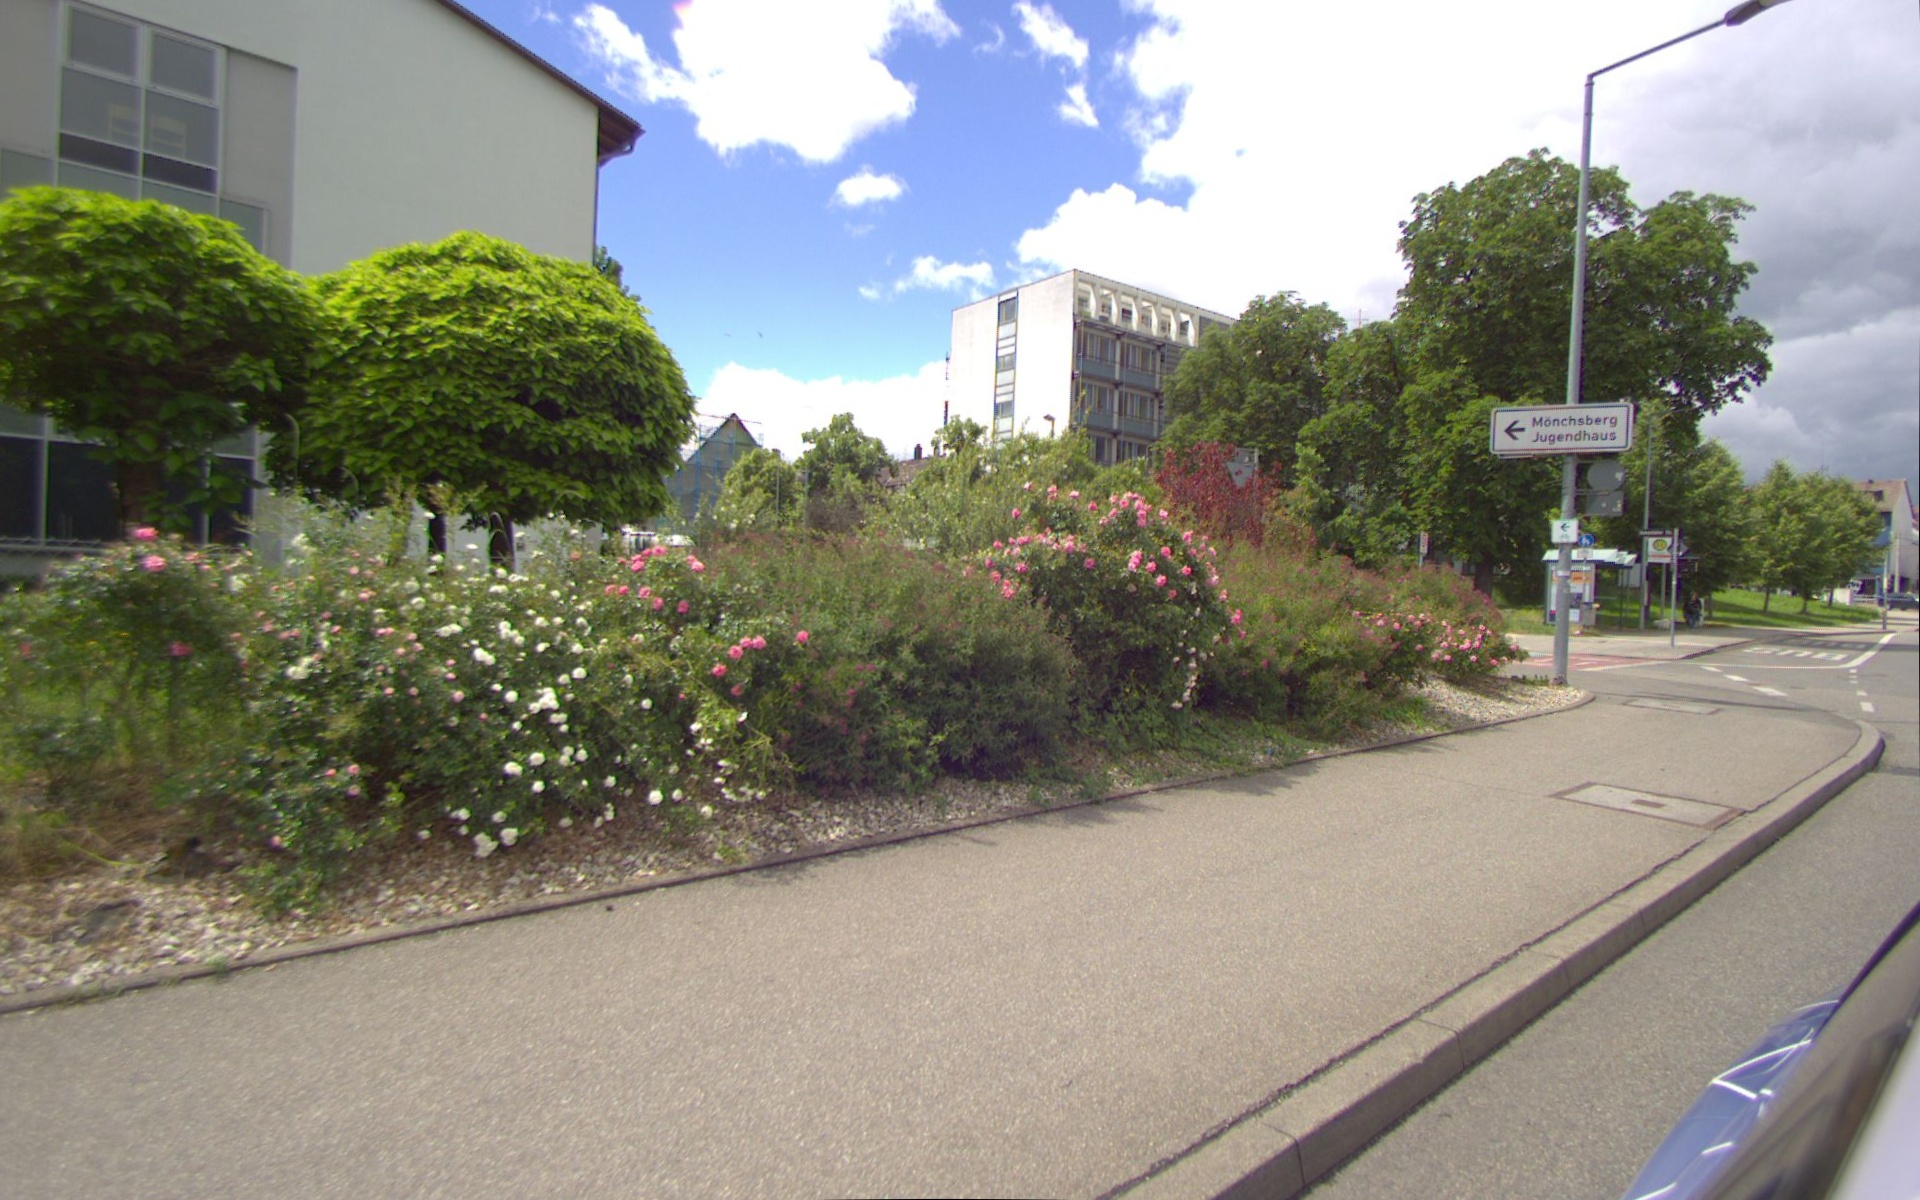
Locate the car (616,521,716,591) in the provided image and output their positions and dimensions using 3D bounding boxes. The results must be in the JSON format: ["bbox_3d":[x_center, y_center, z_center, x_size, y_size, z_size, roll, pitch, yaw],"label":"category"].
[{"bbox_3d":[-13.122,-1.967,44.944,2.165,2.901,5.590,1,2,-40],"label":"car"}]

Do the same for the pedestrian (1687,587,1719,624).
[{"bbox_3d":[29.571,0.207,40.285,0.815,1.442,0.821,0,2,-40],"label":"pedestrian"}]
